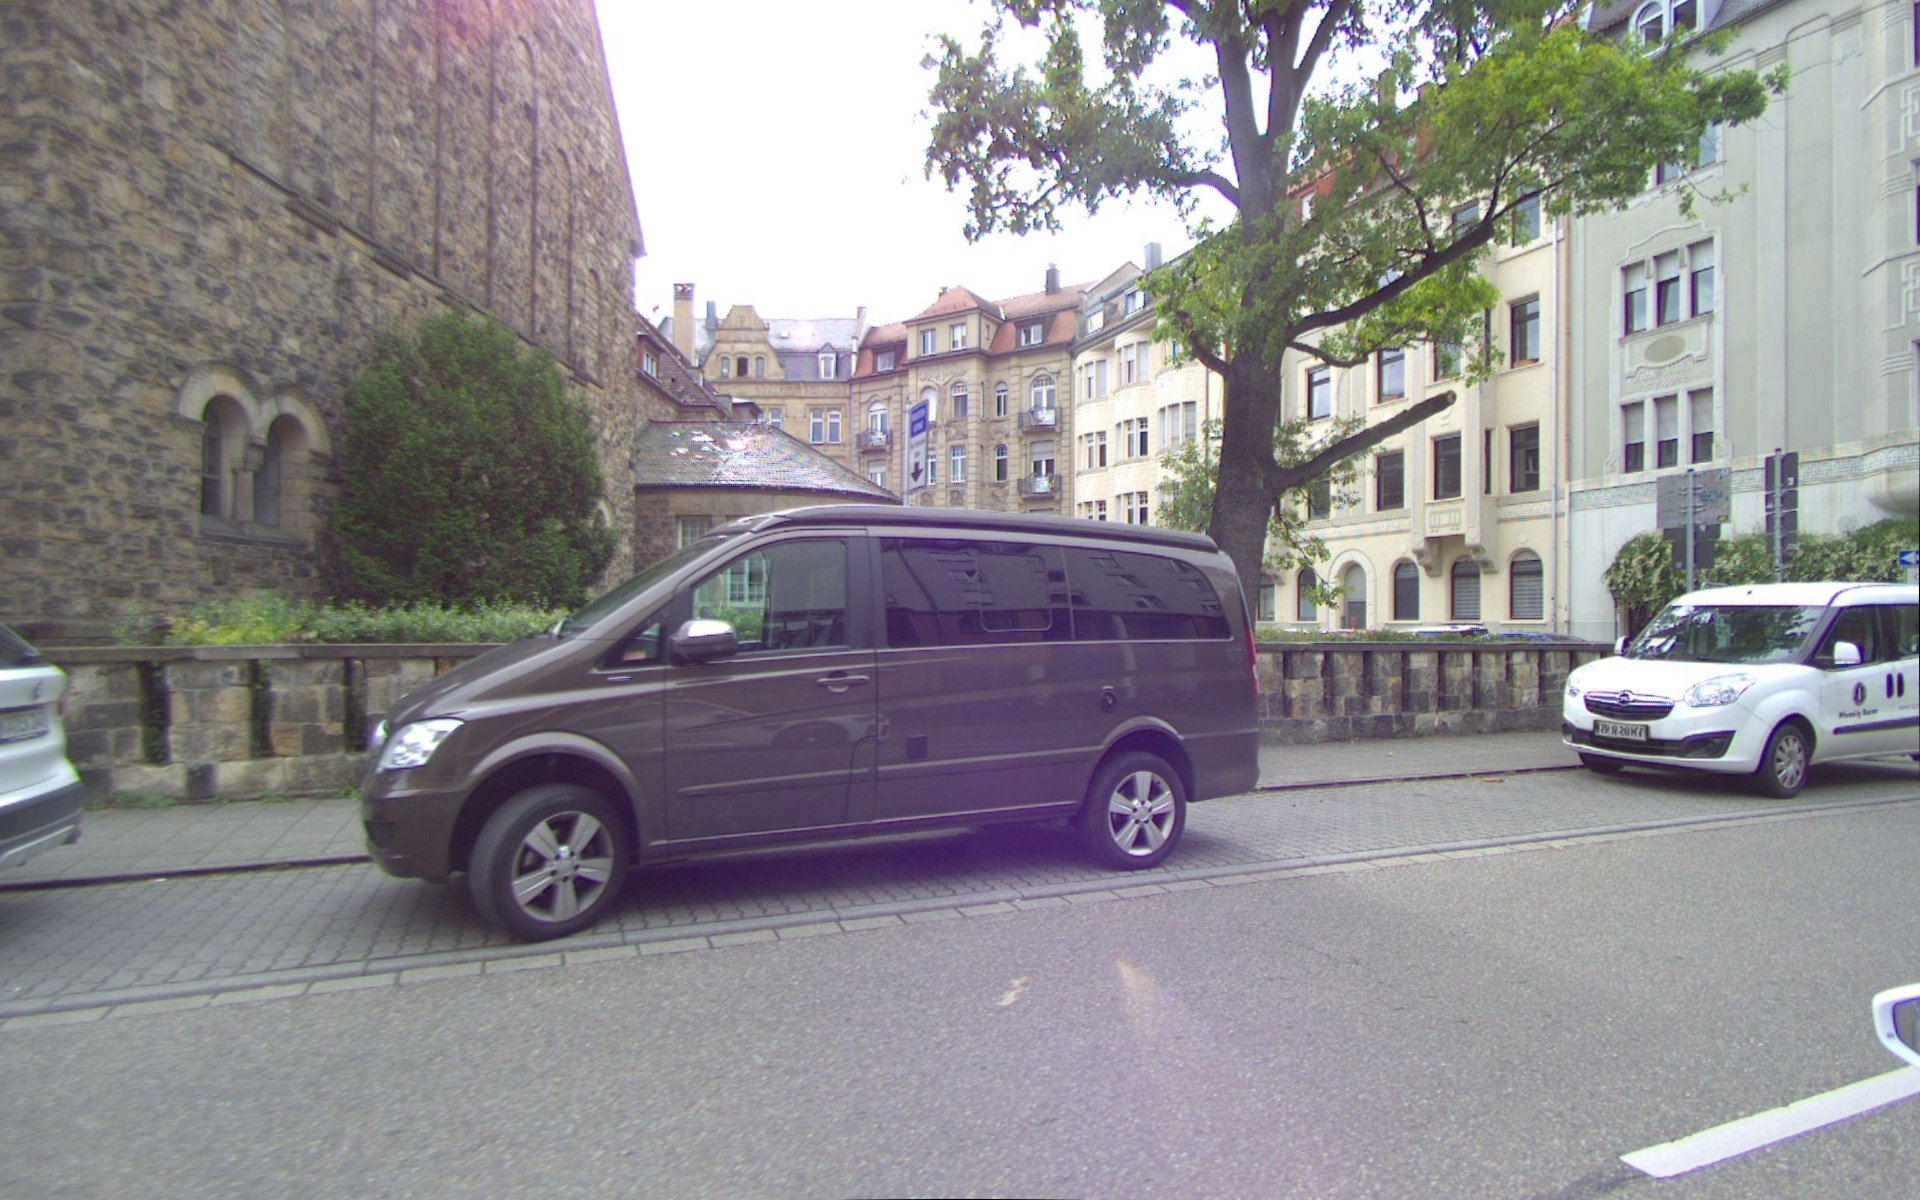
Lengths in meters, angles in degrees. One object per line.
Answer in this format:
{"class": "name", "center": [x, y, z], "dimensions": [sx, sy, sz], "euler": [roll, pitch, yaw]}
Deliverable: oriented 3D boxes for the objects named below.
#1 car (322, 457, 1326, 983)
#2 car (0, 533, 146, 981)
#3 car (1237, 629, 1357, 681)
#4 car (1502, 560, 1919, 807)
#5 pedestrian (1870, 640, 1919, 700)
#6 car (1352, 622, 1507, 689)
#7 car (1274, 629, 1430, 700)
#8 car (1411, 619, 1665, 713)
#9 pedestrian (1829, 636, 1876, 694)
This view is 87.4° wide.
{"class": "car", "center": [-0.536, 0.516, 5.881], "dimensions": [5.111, 2.040, 2.008], "euler": [1, -1, -24]}
{"class": "car", "center": [-5.909, 0.591, 3.529], "dimensions": [4.371, 1.711, 1.838], "euler": [1, -1, -24]}
{"class": "car", "center": [11.313, 1.822, 33.962], "dimensions": [1.676, 1.577, 3.807], "euler": [-2, -2, -25]}
{"class": "car", "center": [7.640, 0.701, 9.676], "dimensions": [4.481, 1.965, 1.840], "euler": [1, -1, -22]}
{"class": "pedestrian", "center": [19.424, 1.438, 20.875], "dimensions": [0.547, 1.213, 0.577], "euler": [0, -1, -24]}
{"class": "car", "center": [13.473, 1.569, 29.063], "dimensions": [1.743, 1.739, 3.807], "euler": [-2, -1, -25]}
{"class": "car", "center": [9.117, 1.464, 23.614], "dimensions": [1.451, 1.502, 3.343], "euler": [2, -2, -25]}
{"class": "car", "center": [11.082, 1.229, 19.590], "dimensions": [1.745, 1.628, 4.046], "euler": [2, -2, -25]}
{"class": "pedestrian", "center": [19.420, 1.403, 21.856], "dimensions": [0.547, 1.213, 0.577], "euler": [0, -1, -24]}
